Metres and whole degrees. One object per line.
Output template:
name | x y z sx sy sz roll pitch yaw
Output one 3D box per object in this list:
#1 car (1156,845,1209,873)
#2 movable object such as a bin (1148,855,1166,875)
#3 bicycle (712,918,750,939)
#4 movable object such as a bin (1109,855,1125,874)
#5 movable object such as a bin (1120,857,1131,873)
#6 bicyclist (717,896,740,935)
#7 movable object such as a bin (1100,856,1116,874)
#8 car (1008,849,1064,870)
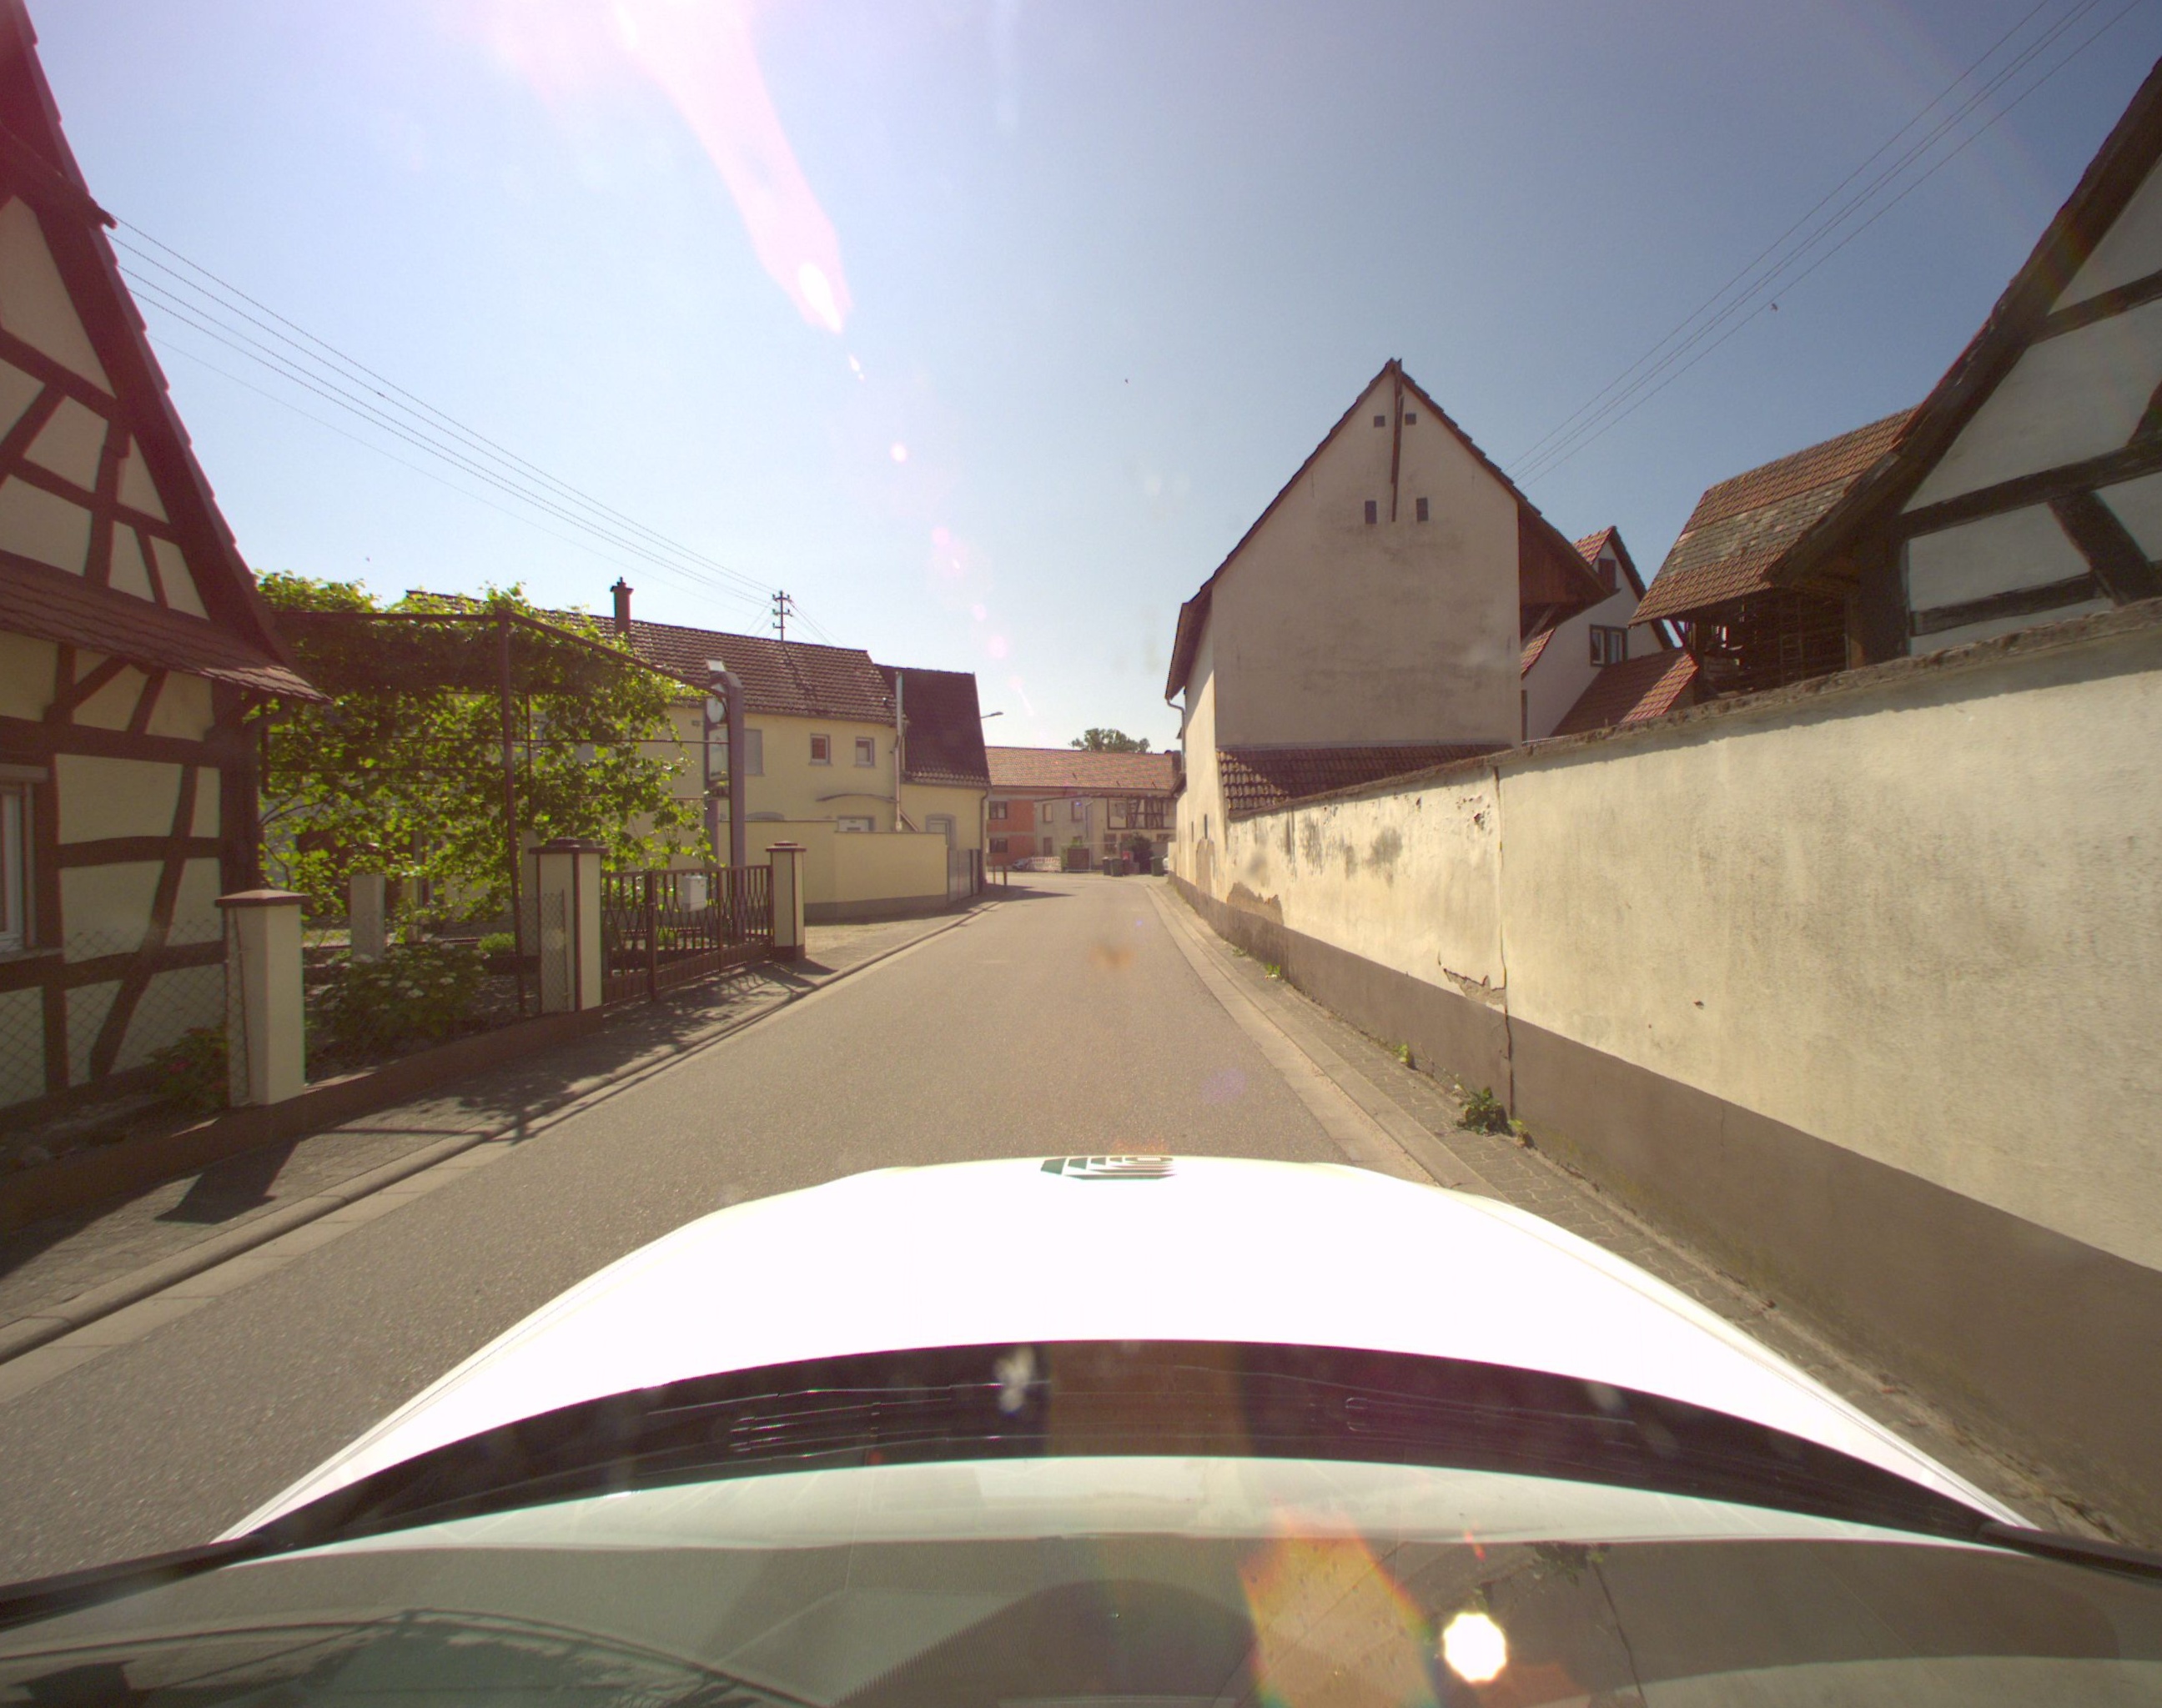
car | 5.979 0.275 48.417 1.812 1.528 4.278 -1 1 -13
movable object such as a bin | 4.283 0.628 45.697 0.723 1.081 0.749 -1 0 -23
bicycle | -5.488 1.172 12.764 0.529 0.305 0.221 -1 -1 17
movable object such as a bin | 2.077 0.587 46.823 0.689 1.092 0.633 -1 0 -20
movable object such as a bin | 2.622 0.642 48.183 0.466 0.970 0.493 -1 0 -21
bicyclist | -5.539 0.963 12.783 0.244 0.582 0.219 0 -1 17
movable object such as a bin | 1.654 0.680 49.118 0.664 1.072 0.766 -1 0 29
car | -3.586 0.460 65.259 4.118 1.507 1.850 -2 0 -34
